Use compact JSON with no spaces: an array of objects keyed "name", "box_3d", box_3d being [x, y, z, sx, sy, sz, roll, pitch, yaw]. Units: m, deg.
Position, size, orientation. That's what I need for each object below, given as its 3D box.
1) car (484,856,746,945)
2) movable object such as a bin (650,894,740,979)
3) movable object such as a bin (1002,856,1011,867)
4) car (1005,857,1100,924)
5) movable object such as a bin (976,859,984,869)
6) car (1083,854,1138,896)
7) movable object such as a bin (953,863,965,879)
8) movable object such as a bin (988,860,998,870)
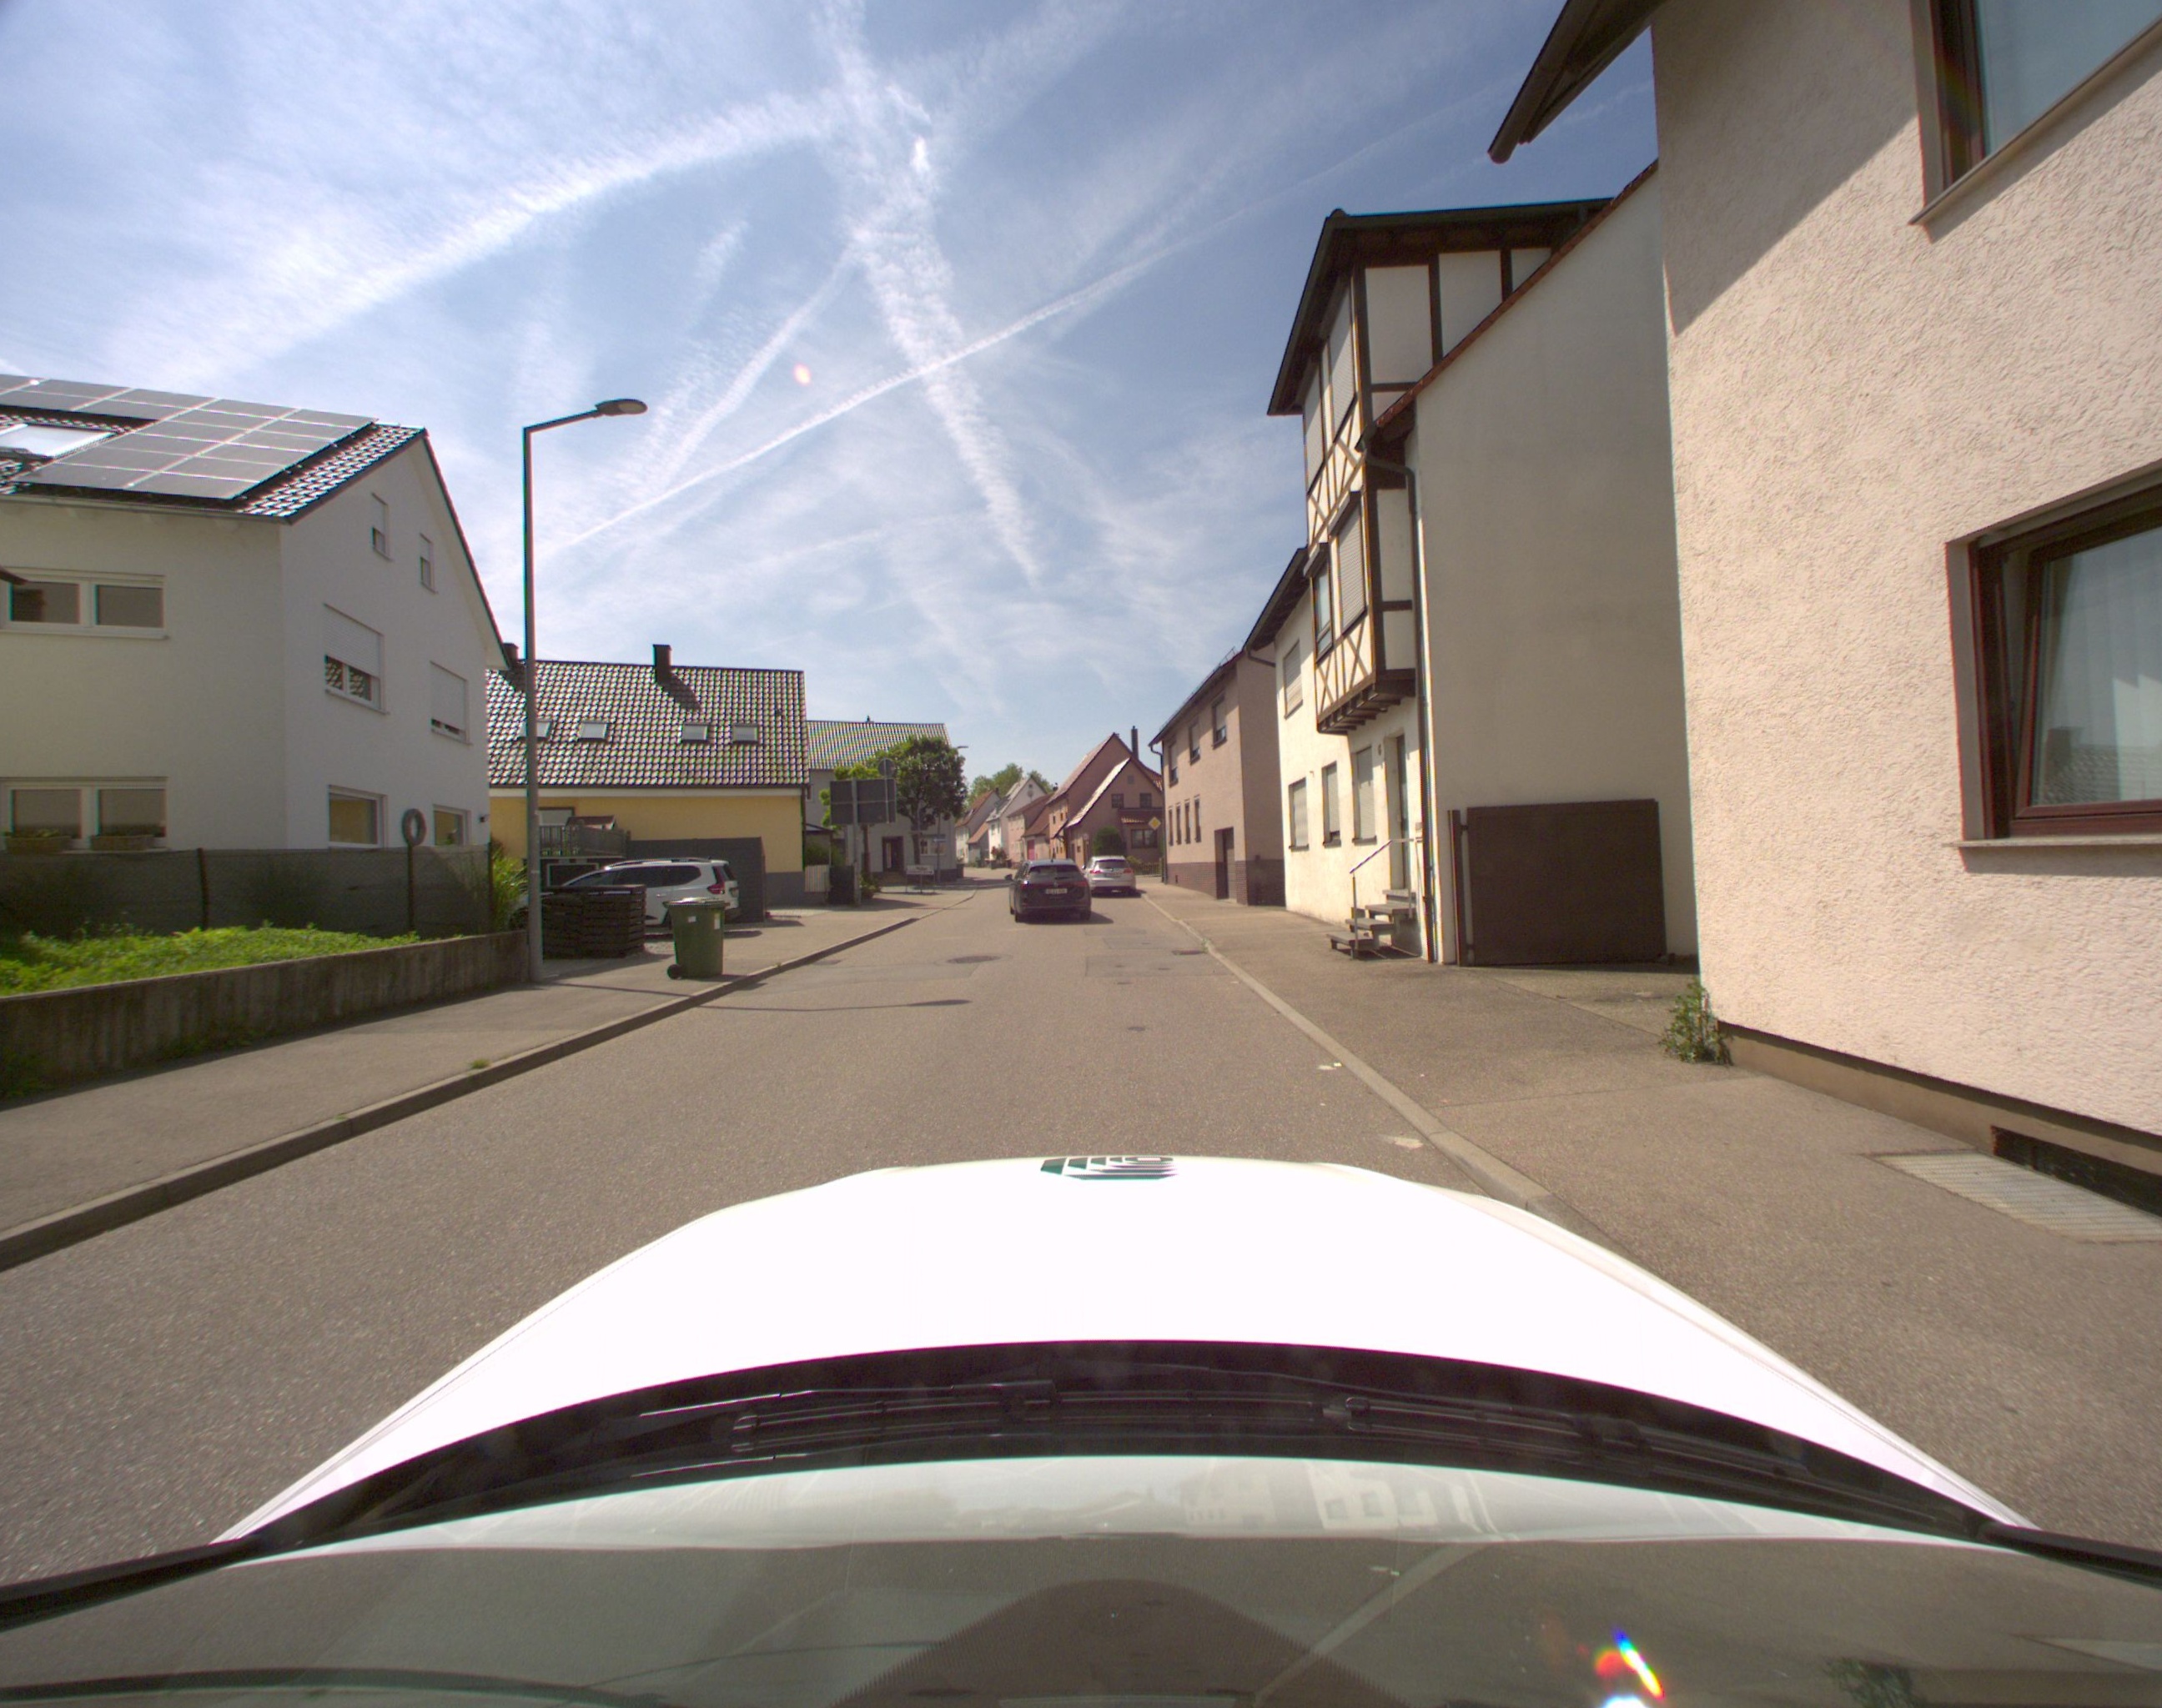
[{"name":"car","box_3d":[-9.704,0.921,17.368,4.405,1.622,1.992,-2,-1,-12]},{"name":"movable object such as a bin","box_3d":[-5.331,1.122,11.296,0.823,1.077,0.818,-1,0,1]},{"name":"movable object such as a bin","box_3d":[-8.191,0.835,89.655,0.681,1.050,0.829,-6,2,-23]},{"name":"car","box_3d":[-0.839,0.817,20.271,1.840,1.420,4.669,-1,0,-8]},{"name":"movable object such as a bin","box_3d":[-12.332,1.223,99.280,0.681,1.155,0.814,-1,-1,-23]},{"name":"car","box_3d":[1.035,0.722,30.462,1.781,1.442,4.334,-1,0,-2]},{"name":"movable object such as a bin","box_3d":[-8.574,1.194,57.284,0.754,1.060,0.677,-1,0,-12]},{"name":"movable object such as a bin","box_3d":[-9.750,1.207,90.202,0.880,1.074,0.866,-6,2,-23]}]
